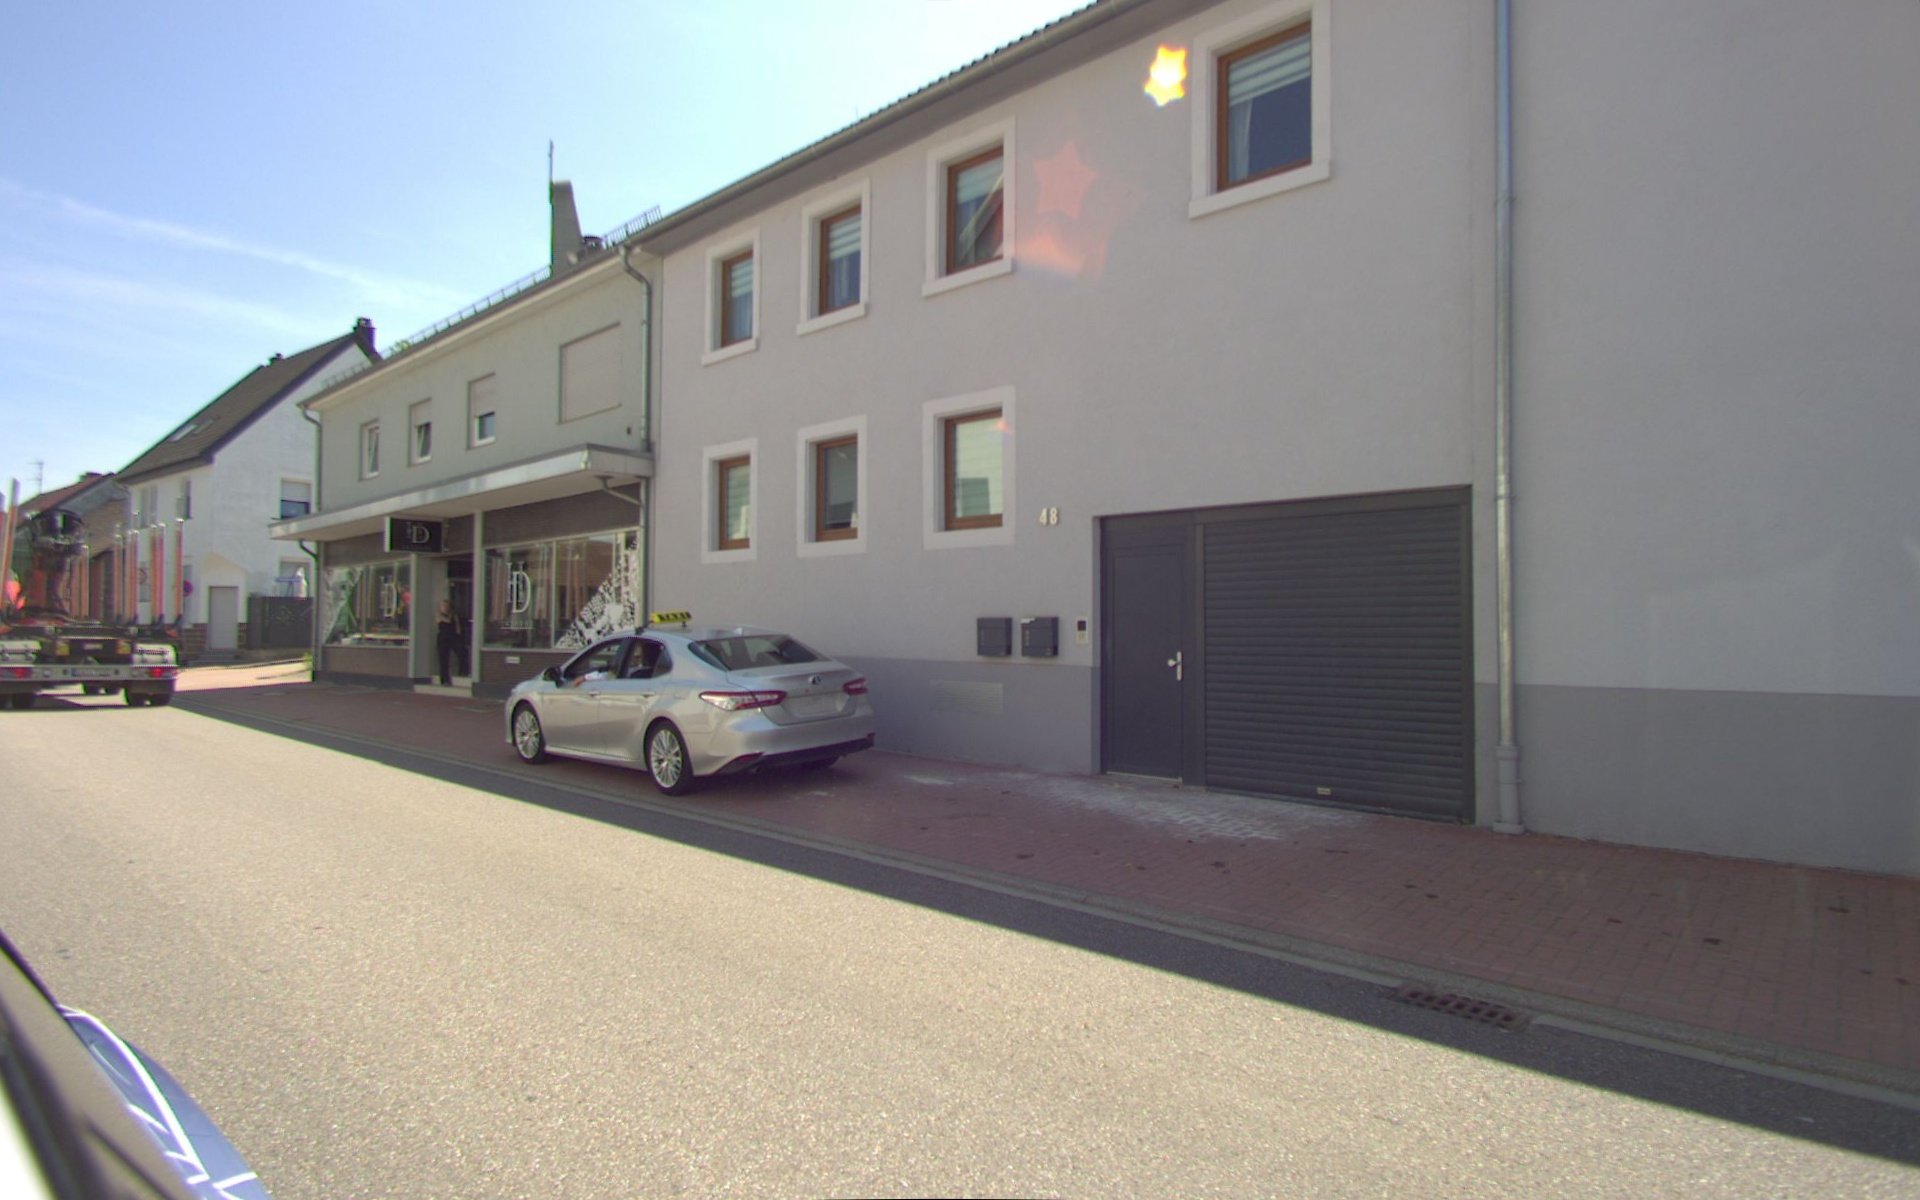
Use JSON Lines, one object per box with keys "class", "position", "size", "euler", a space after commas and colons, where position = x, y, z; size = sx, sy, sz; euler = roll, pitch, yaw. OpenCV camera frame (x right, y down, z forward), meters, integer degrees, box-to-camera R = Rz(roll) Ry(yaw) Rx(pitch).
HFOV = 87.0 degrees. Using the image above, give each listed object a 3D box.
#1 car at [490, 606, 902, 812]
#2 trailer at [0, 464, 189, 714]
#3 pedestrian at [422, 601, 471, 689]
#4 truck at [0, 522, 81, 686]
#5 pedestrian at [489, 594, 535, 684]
{"class": "car", "position": [-2.817, 0.899, 10.123], "size": [4.564, 1.569, 1.789], "euler": [-1, 0, 43]}
{"class": "trailer", "position": [-20.547, 0.015, 22.304], "size": [15.693, 4.010, 2.602], "euler": [-1, -4, 42]}
{"class": "pedestrian", "position": [-10.091, 0.872, 19.891], "size": [0.771, 1.697, 0.618], "euler": [-2, -2, 41]}
{"class": "truck", "position": [-25.966, 0.172, 27.169], "size": [6.850, 4.016, 2.590], "euler": [-1, -4, 42]}
{"class": "pedestrian", "position": [-8.749, 0.752, 19.773], "size": [0.655, 1.726, 0.632], "euler": [0, 0, -7]}
